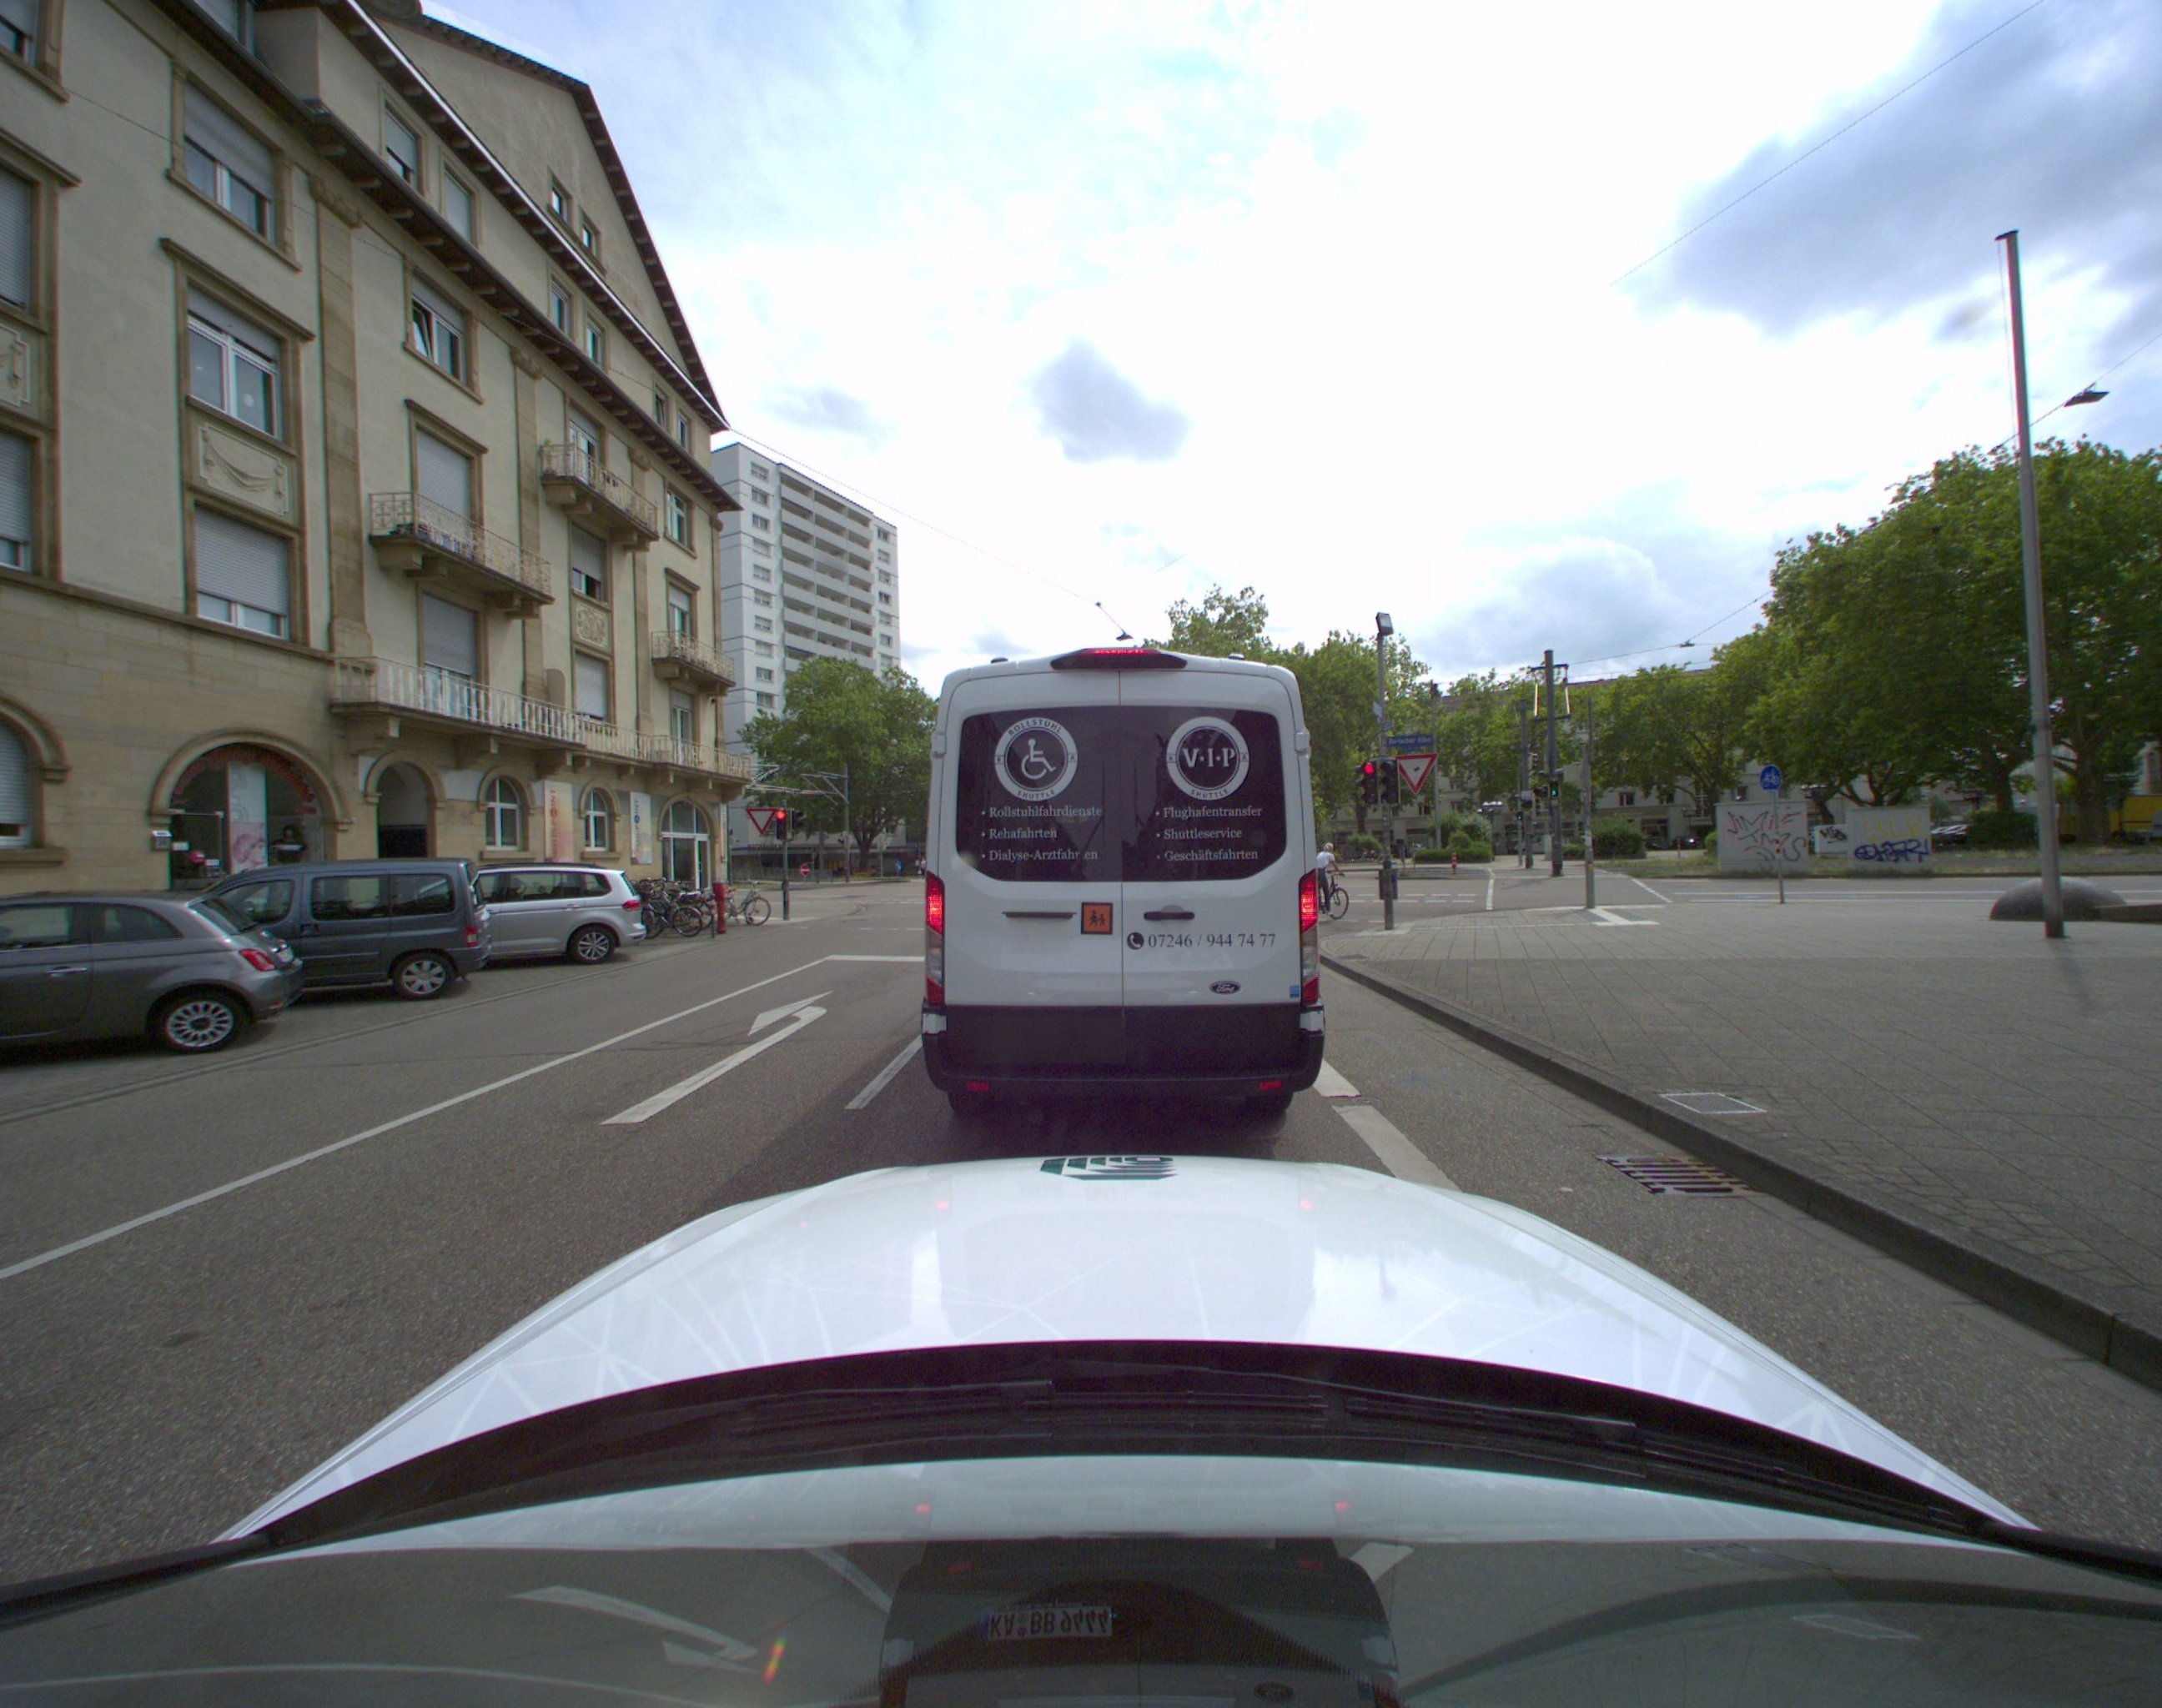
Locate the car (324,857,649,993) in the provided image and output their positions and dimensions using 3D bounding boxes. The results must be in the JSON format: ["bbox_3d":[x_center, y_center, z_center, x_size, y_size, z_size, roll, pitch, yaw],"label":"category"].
[{"bbox_3d":[-9.508,1.016,13.349,4.031,1.773,1.776,-2,0,-37],"label":"car"}]

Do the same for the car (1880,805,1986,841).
[{"bbox_3d":[68.910,-2.493,66.006,5.271,2.585,2.512,-2,-1,24],"label":"car"}]

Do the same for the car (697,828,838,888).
[{"bbox_3d":[-22.235,0.317,57.605,9.793,3.915,3.476,-2,0,26],"label":"car"}]

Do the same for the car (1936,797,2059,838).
[{"bbox_3d":[65.721,-2.573,58.537,5.271,2.585,2.512,-2,-1,24],"label":"car"}]

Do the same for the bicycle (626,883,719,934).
[{"bbox_3d":[-9.463,1.253,18.909,1.807,1.120,0.593,0,0,-6],"label":"bicycle"}]

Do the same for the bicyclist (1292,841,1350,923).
[{"bbox_3d":[5.183,0.590,17.590,0.895,1.683,0.761,-2,0,44],"label":"bicyclist"}]

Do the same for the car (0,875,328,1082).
[{"bbox_3d":[-9.783,1.111,7.462,4.031,1.651,1.776,-2,0,-37],"label":"car"}]

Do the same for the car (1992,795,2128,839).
[{"bbox_3d":[64.903,-2.429,54.121,5.271,2.585,2.192,-2,-1,24],"label":"car"}]

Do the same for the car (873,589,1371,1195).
[{"bbox_3d":[0.209,0.132,5.879,2.174,2.647,4.629,0,1,0],"label":"car"}]

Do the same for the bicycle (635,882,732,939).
[{"bbox_3d":[-8.554,1.209,17.536,1.800,1.120,0.595,2,0,5],"label":"bicycle"}]

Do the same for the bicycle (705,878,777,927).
[{"bbox_3d":[-8.646,1.216,20.705,1.859,1.167,0.500,0,0,22],"label":"bicycle"}]

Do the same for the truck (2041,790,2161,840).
[{"bbox_3d":[58.669,-2.152,46.140,3.042,2.577,6.549,-2,0,25],"label":"truck"}]

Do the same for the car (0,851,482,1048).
[{"bbox_3d":[-9.906,0.971,10.027,4.031,1.878,1.776,-2,0,-37],"label":"car"}]

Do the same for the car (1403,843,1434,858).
[{"bbox_3d":[36.261,-0.405,87.514,1.983,1.503,4.008,-2,0,7],"label":"car"}]

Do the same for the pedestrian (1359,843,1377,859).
[{"bbox_3d":[24.698,-0.256,70.002,1.086,1.236,1.443,-4,-1,6],"label":"pedestrian"}]

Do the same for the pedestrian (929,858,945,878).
[{"bbox_3d":[-11.050,1.048,62.463,0.920,1.514,0.728,-2,0,36],"label":"pedestrian"}]

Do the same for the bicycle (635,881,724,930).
[{"bbox_3d":[-9.647,1.228,19.611,1.807,1.120,0.593,0,0,-6],"label":"bicycle"}]

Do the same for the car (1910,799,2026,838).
[{"bbox_3d":[66.665,-2.637,61.353,5.271,2.585,2.512,-2,-1,24],"label":"car"}]

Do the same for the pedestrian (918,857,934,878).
[{"bbox_3d":[-11.786,1.027,61.934,0.799,1.572,0.728,-2,0,25],"label":"pedestrian"}]

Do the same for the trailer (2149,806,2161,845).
[{"bbox_3d":[55.429,-1.468,39.265,4.381,1.925,1.865,-2,0,26],"label":"trailer"}]

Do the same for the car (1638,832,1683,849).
[{"bbox_3d":[55.768,-1.262,78.482,1.757,1.503,4.008,-2,0,7],"label":"car"}]

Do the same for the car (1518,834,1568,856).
[{"bbox_3d":[44.050,-0.865,77.722,3.950,1.883,1.868,-2,0,26],"label":"car"}]

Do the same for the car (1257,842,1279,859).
[{"bbox_3d":[21.708,-0.389,94.707,1.983,1.930,4.008,-2,0,7],"label":"car"}]

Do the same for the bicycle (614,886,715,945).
[{"bbox_3d":[-8.622,1.274,16.866,1.799,1.120,0.595,-2,0,8],"label":"bicycle"}]

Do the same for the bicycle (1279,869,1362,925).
[{"bbox_3d":[5.189,0.893,17.579,0.894,1.075,1.982,-2,0,43],"label":"bicycle"}]

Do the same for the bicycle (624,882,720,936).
[{"bbox_3d":[-9.157,1.216,18.289,1.807,1.166,0.593,0,0,-6],"label":"bicycle"}]
